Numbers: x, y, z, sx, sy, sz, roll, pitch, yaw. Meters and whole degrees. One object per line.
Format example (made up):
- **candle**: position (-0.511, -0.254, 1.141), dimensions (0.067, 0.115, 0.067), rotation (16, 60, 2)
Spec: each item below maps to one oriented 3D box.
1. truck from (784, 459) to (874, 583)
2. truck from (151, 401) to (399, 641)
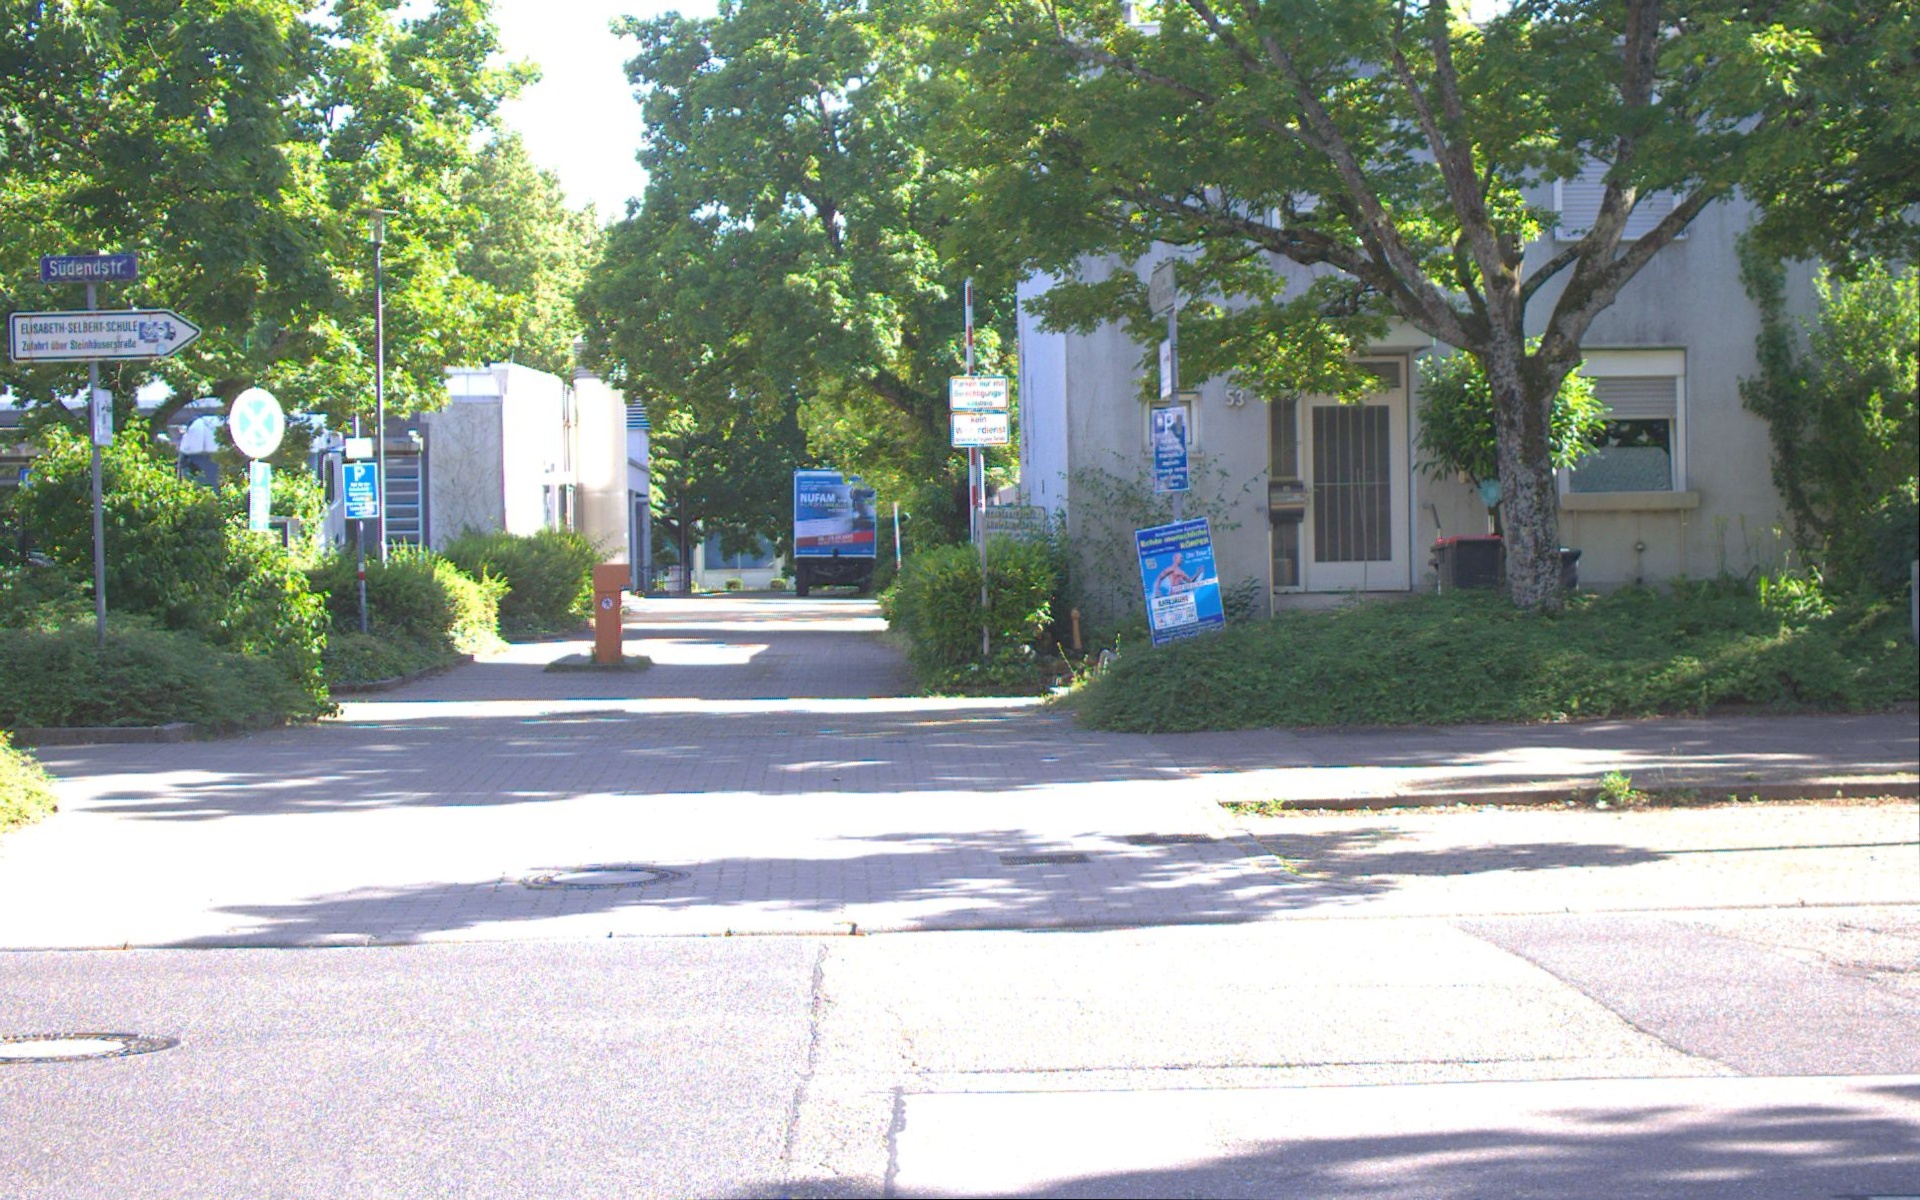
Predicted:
- **truck**: position (-4.190, -2.558, 111.739), dimensions (2.760, 3.856, 9.330), rotation (0, 1, -1)
- **truck**: position (-11.428, -1.323, 57.984), dimensions (2.802, 3.793, 6.924), rotation (0, 1, 0)
